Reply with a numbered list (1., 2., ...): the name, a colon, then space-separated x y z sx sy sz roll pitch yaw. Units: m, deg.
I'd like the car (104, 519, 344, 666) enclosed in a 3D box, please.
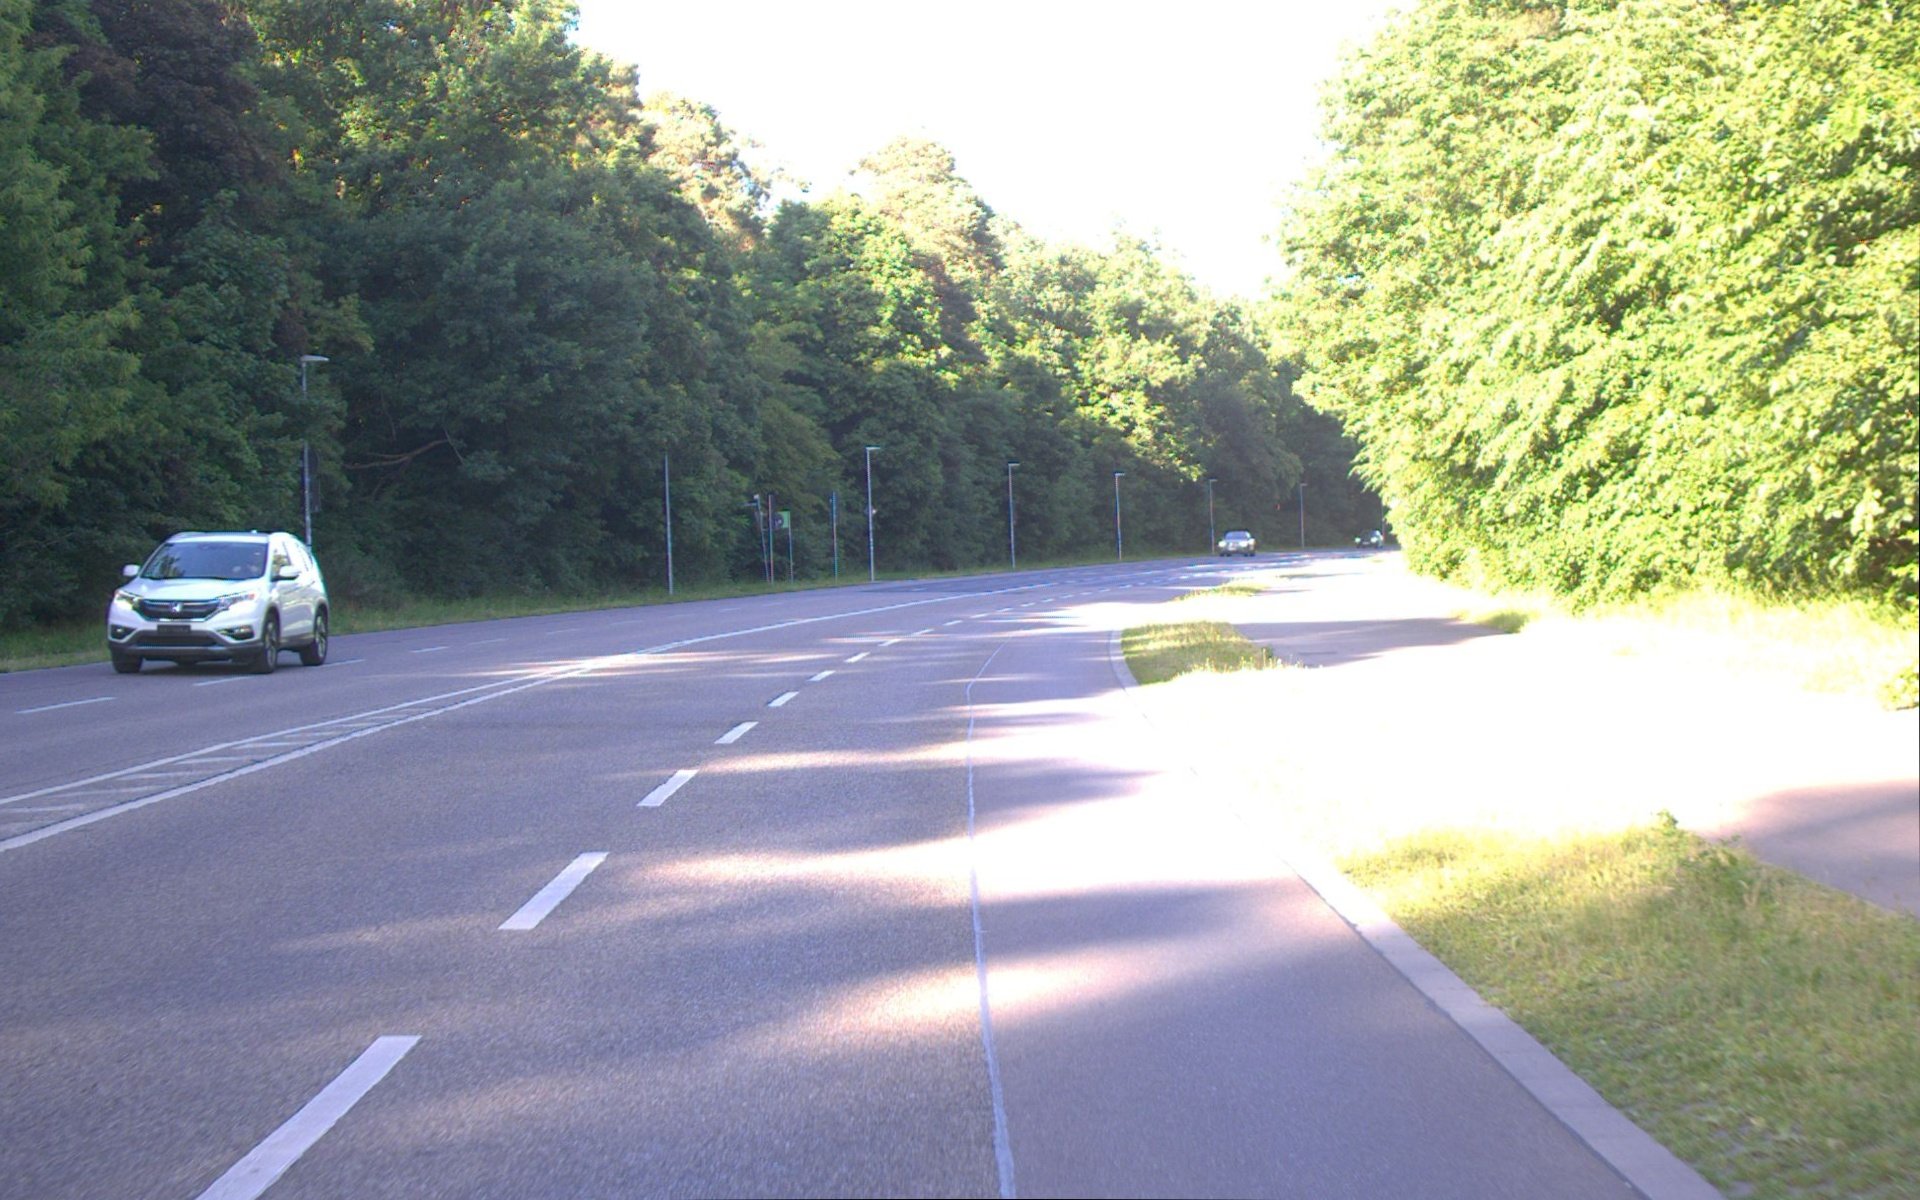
1. car: -8.780 -0.130 41.401 1.908 1.658 4.734 0 1 -1
